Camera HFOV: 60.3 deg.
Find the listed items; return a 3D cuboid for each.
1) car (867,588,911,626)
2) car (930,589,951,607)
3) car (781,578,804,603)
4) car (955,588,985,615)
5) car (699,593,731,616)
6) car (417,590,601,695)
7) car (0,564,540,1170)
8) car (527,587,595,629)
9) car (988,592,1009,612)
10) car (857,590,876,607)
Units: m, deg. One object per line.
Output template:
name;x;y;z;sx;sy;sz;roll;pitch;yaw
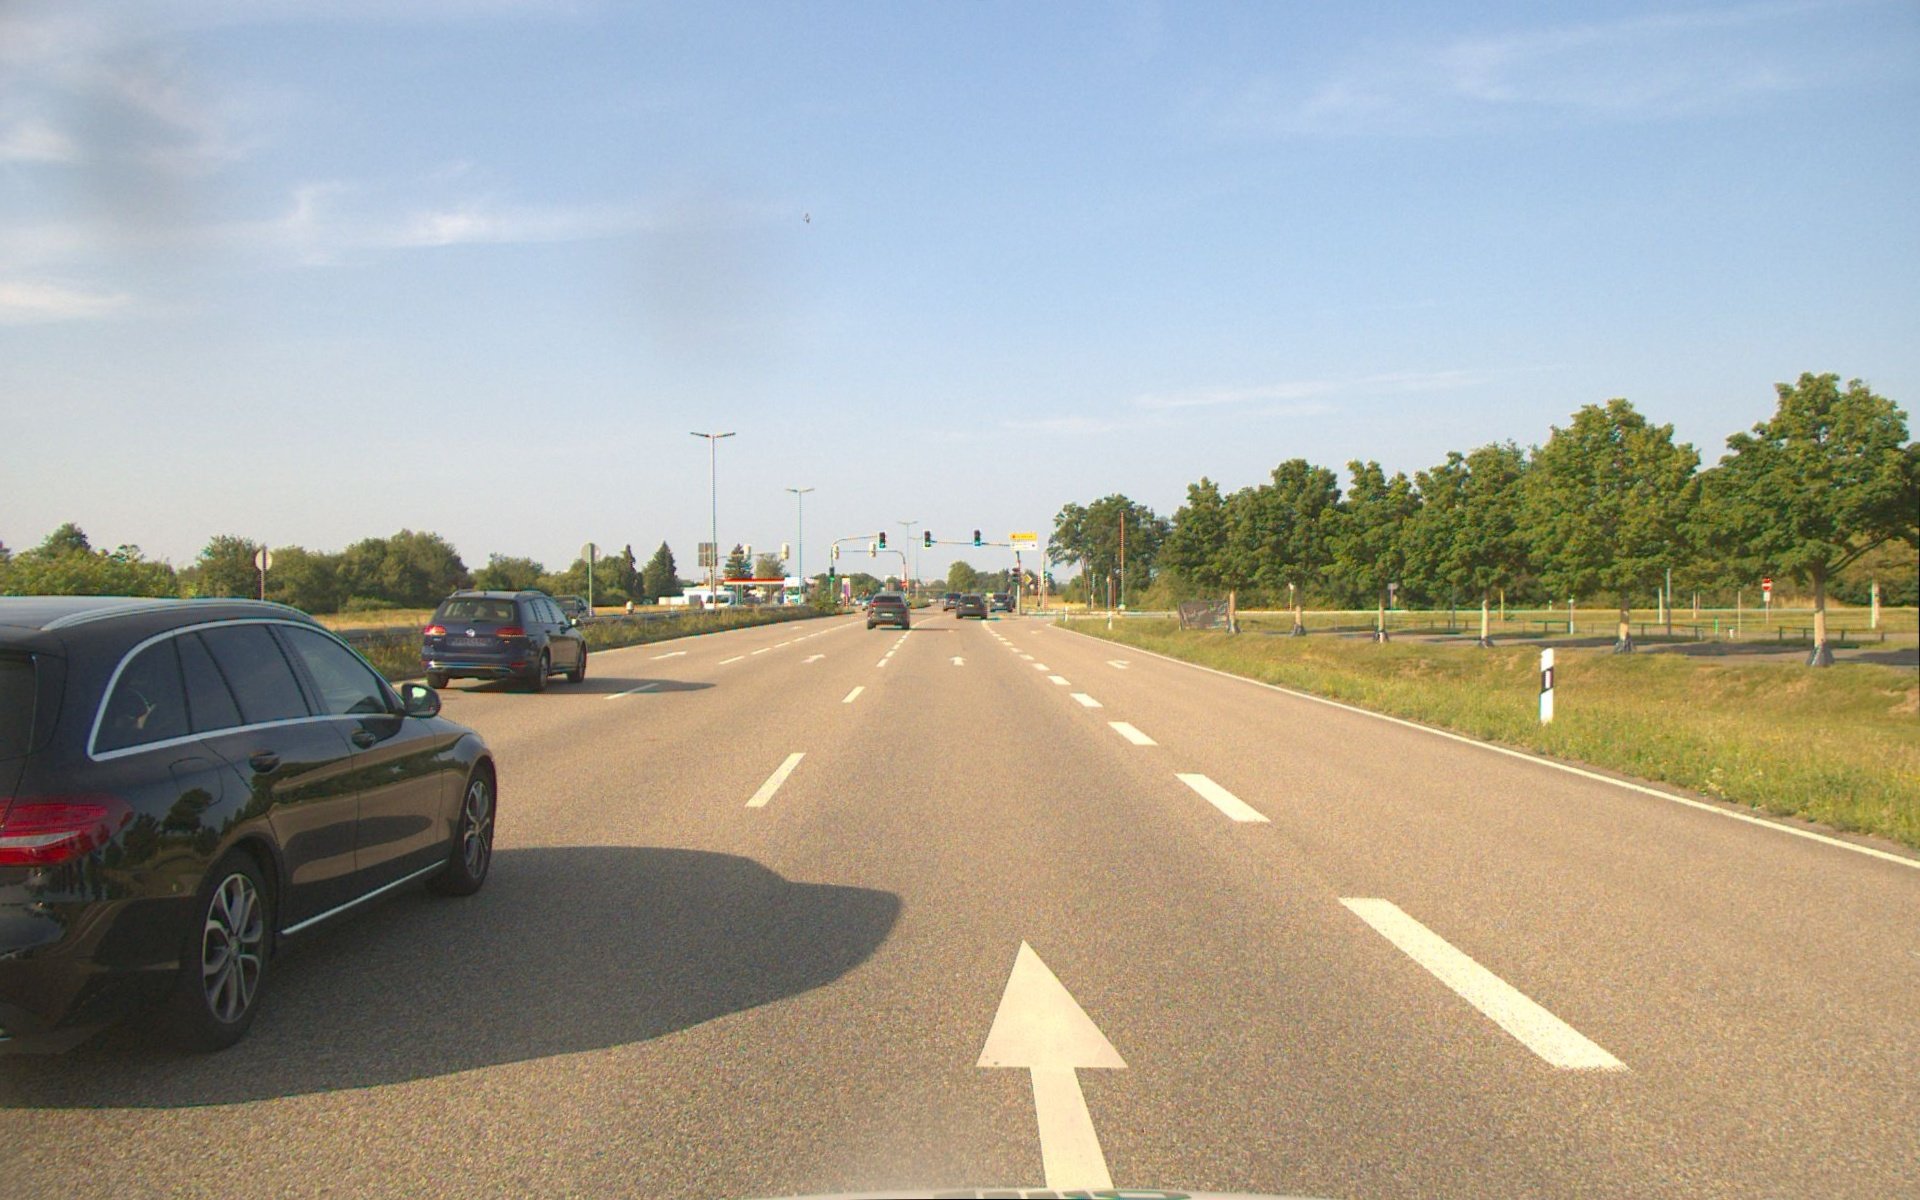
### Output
car;-3.181;0.289;74.739;1.808;1.640;4.400;2;0;-1
car;-1.698;-0.215;145.484;1.776;1.488;4.400;2;0;-1
car;-19.633;-1.099;193.866;2.225;2.902;5.248;0;0;-1
car;0.628;0.067;110.639;1.893;1.709;4.400;2;0;-1
car;-15.159;0.249;102.560;1.490;1.386;3.443;0;0;-1
car;-6.942;0.588;25.944;1.612;1.497;4.776;0;0;-1
car;-3.068;0.646;6.585;1.540;1.497;5.022;0;0;0
car;-14.304;0.293;59.473;1.577;1.466;3.619;1;-1;-1
car;3.317;0.121;143.340;1.713;1.645;3.757;2;0;-1
car;-9.004;-0.129;159.600;1.567;1.559;4.000;2;0;-1
